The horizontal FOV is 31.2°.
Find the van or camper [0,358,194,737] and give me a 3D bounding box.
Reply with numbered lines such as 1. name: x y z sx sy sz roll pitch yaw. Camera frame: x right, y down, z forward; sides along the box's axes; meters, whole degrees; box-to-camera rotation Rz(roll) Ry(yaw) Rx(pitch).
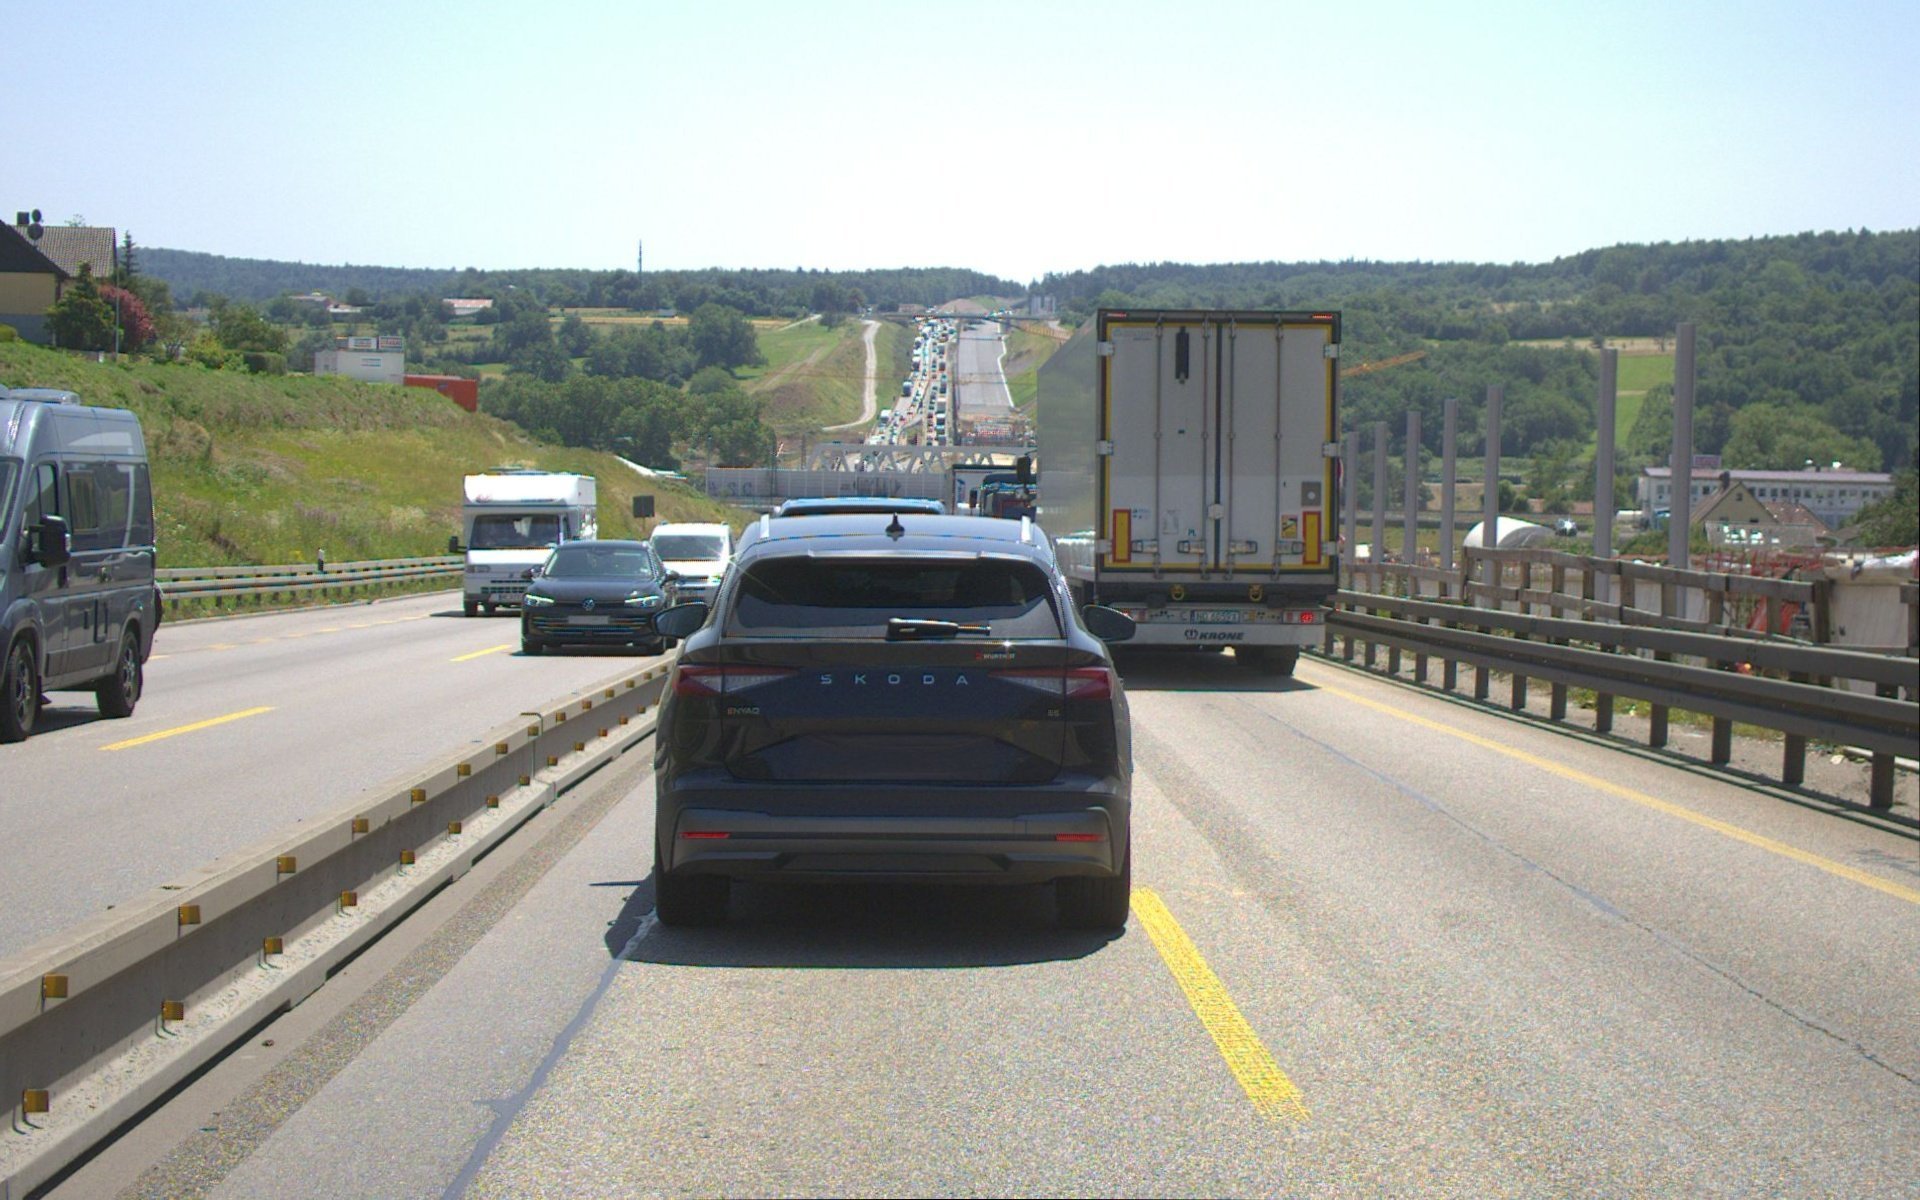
1. van or camper: -7.618 -0.425 26.243 2.140 2.564 6.565 1 1 -1

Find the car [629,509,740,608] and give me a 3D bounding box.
1. car: -5.240 -0.813 65.865 1.837 1.821 5.041 1 1 -2

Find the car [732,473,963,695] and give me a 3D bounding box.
1. car: -1.027 -0.142 32.270 1.993 1.919 4.508 1 0 -1

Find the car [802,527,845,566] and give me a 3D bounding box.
1. car: -5.803 -2.291 146.710 1.806 1.634 4.173 0 1 -2

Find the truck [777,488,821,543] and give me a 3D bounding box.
1. truck: -10.818 -5.668 231.246 2.779 3.660 6.278 1 1 -1

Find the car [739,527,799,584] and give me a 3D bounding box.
1. car: -5.101 -1.194 91.977 1.483 1.500 2.805 0 1 -1

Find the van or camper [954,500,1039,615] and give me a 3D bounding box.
1. van or camper: 1.113 -1.201 100.695 2.389 3.269 6.468 0 0 1

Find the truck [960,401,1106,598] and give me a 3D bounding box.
1. truck: 1.689 -2.319 83.373 3.180 4.498 8.166 1 0 -1

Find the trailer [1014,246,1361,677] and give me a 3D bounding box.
1. trailer: 2.497 -1.620 42.736 3.180 4.497 13.110 1 1 -1

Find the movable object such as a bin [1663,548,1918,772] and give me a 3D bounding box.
1. movable object such as a bin: 18.655 1.279 77.952 3.227 4.727 9.656 1 0 -1

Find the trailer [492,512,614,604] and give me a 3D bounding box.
1. trailer: -8.791 -0.930 74.672 2.101 1.887 5.141 1 1 -1

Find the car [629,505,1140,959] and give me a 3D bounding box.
1. car: -0.276 0.450 14.224 1.802 1.602 4.000 1 1 0

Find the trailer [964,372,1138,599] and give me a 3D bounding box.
1. trailer: 1.824 -2.296 76.186 3.180 4.498 14.967 1 0 -1

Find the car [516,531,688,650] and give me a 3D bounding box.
1. car: -4.663 -0.156 45.335 1.842 1.470 4.835 0 1 -1

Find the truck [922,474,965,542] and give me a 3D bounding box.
1. truck: -1.099 -5.939 224.414 2.639 4.179 9.284 1 0 -1

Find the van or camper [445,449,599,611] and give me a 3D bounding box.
1. van or camper: -8.683 -1.391 68.767 2.291 3.056 6.924 1 1 -1

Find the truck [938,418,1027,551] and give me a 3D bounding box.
1. truck: 0.763 -4.134 126.135 2.852 4.450 11.918 1 0 -1

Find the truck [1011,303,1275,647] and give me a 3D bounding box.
1. truck: 2.466 -1.745 49.279 3.180 4.497 8.166 1 1 -1
